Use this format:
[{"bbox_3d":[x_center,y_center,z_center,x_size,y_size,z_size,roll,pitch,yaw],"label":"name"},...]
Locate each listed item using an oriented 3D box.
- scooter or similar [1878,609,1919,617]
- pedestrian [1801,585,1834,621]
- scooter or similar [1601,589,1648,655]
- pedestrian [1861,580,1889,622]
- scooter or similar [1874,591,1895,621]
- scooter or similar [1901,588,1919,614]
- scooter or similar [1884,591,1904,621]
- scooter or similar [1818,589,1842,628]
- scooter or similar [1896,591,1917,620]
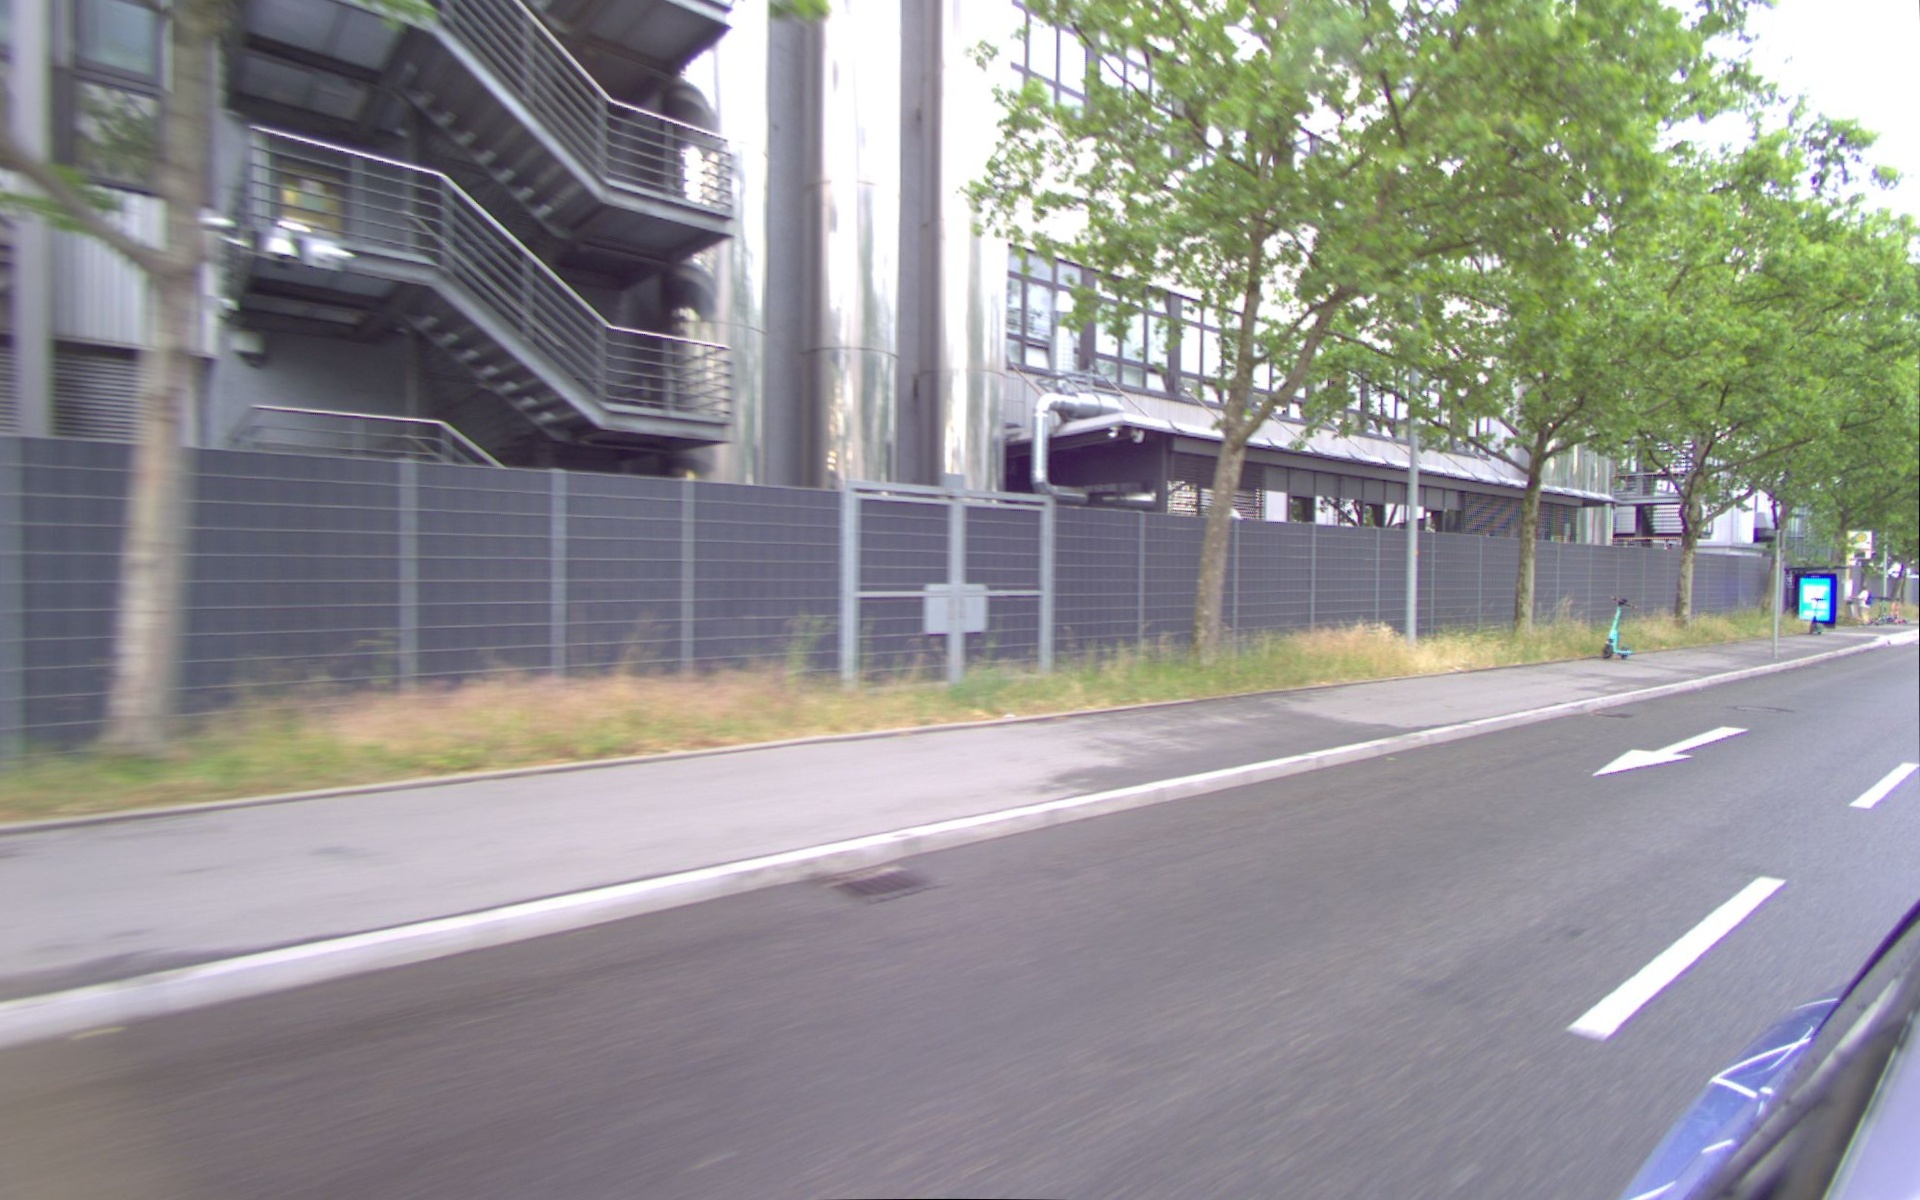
[{"bbox_3d":[48.054,0.660,51.833,1.168,0.314,1.194,1,2,21],"label":"scooter or similar"},{"bbox_3d":[35.135,0.109,41.459,0.686,1.433,0.932,0,2,-41],"label":"pedestrian"},{"bbox_3d":[13.264,0.431,20.188,1.087,1.285,0.330,0,1,-32],"label":"scooter or similar"},{"bbox_3d":[38.937,0.034,43.060,0.717,1.731,0.777,0,1,-41],"label":"pedestrian"},{"bbox_3d":[40.654,0.255,44.496,1.277,1.311,0.437,0,2,-38],"label":"scooter or similar"},{"bbox_3d":[46.995,0.044,50.015,1.275,1.301,0.437,0,1,-34],"label":"scooter or similar"},{"bbox_3d":[41.810,0.279,45.287,1.277,1.311,0.437,0,2,-38],"label":"scooter or similar"},{"bbox_3d":[29.795,0.287,34.663,1.222,1.324,0.329,0,1,-37],"label":"scooter or similar"},{"bbox_3d":[44.836,0.257,47.939,1.340,1.311,0.437,0,1,-34],"label":"scooter or similar"}]
